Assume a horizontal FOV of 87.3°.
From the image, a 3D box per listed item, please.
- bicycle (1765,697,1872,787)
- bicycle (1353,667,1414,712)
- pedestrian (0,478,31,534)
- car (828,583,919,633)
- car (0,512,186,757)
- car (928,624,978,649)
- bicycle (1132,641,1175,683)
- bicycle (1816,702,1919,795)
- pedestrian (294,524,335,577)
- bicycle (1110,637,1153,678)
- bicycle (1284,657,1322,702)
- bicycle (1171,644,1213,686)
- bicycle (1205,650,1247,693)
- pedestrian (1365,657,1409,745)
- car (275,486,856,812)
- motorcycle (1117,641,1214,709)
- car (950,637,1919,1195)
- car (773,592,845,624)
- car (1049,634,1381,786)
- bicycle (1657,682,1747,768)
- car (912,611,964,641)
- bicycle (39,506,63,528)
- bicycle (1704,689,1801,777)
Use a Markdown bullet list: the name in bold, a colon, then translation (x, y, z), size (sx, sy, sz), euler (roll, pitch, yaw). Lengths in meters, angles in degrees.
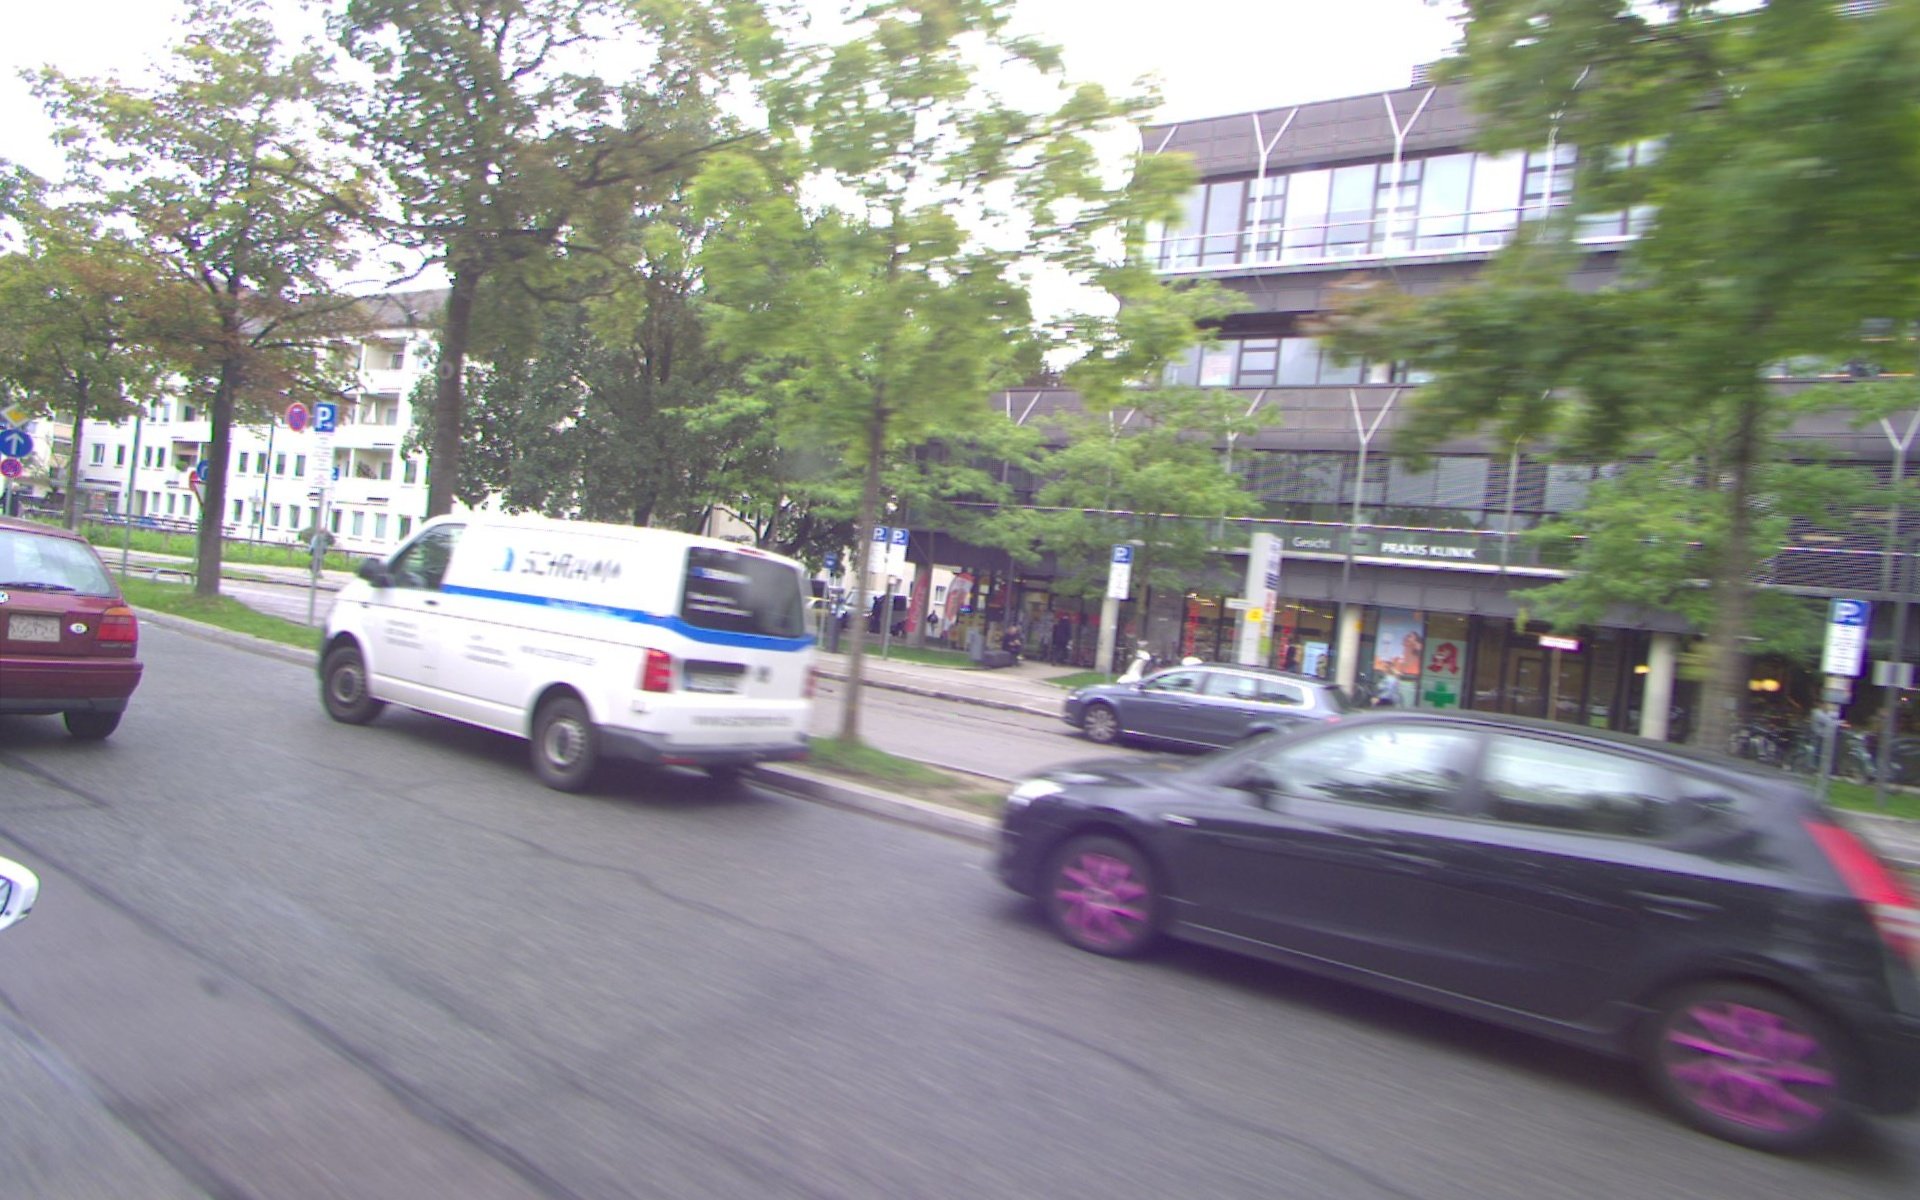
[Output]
- **bicycle**: translation (18.281, 2.976, 21.485), size (0.637, 1.642, 2.316), euler (7, -1, 15)
- **bicycle**: translation (12.577, 2.646, 29.868), size (1.527, 1.134, 0.455), euler (7, 0, 28)
- **pedestrian**: translation (-31.845, -3.143, 33.724), size (0.590, 1.750, 0.641), euler (7, -1, -2)
- **car**: translation (-4.300, 0.485, 51.288), size (2.301, 2.078, 6.112), euler (7, 0, 17)
- **car**: translation (-7.143, 0.023, 6.743), size (3.853, 1.399, 1.686), euler (6, -2, 31)
- **car**: translation (-0.361, 2.166, 59.006), size (1.556, 1.216, 3.749), euler (7, 0, 21)
- **bicycle**: translation (5.727, 1.849, 29.710), size (0.448, 1.134, 2.078), euler (7, -1, 31)
- **bicycle**: translation (18.997, 3.043, 20.976), size (0.637, 1.642, 2.316), euler (7, -1, 15)
- **pedestrian**: translation (-20.922, -1.605, 32.633), size (0.767, 1.593, 0.580), euler (7, -1, -2)
- **bicycle**: translation (5.243, 1.764, 30.711), size (0.448, 1.134, 2.078), euler (7, -1, 31)
- **bicycle**: translation (9.440, 2.194, 27.664), size (0.448, 1.134, 2.078), euler (7, -1, 31)
- **bicycle**: translation (6.758, 1.905, 29.261), size (0.448, 1.134, 2.078), euler (7, -1, 31)
- **bicycle**: translation (7.554, 2.039, 28.501), size (0.448, 1.134, 2.078), euler (7, -1, 31)
- **pedestrian**: translation (8.131, 1.916, 19.170), size (0.620, 1.562, 0.660), euler (6, 2, 23)
- **car**: translation (-3.505, 0.272, 8.641), size (4.850, 1.949, 1.885), euler (7, -2, 31)
- **motorcycle**: translation (4.470, 1.614, 21.942), size (1.915, 1.247, 0.472), euler (6, 3, 31)
- **car**: translation (2.162, 1.213, 5.145), size (3.973, 1.465, 1.700), euler (7, -2, 30)
- **car**: translation (-7.501, 0.418, 50.276), size (1.558, 1.216, 3.744), euler (8, 0, 28)
- **car**: translation (3.866, 1.597, 15.603), size (4.528, 1.550, 1.823), euler (7, 0, 34)
- **bicycle**: translation (16.418, 2.726, 22.341), size (0.637, 1.642, 2.316), euler (7, -1, 15)
- **car**: translation (-1.339, 1.647, 63.006), size (1.558, 1.558, 3.745), euler (8, 0, 27)
- **bicycle**: translation (-49.472, -4.525, 54.736), size (1.853, 1.041, 0.431), euler (7, 1, 33)
- **bicycle**: translation (17.249, 2.853, 21.971), size (0.637, 1.642, 2.316), euler (7, -1, 15)
